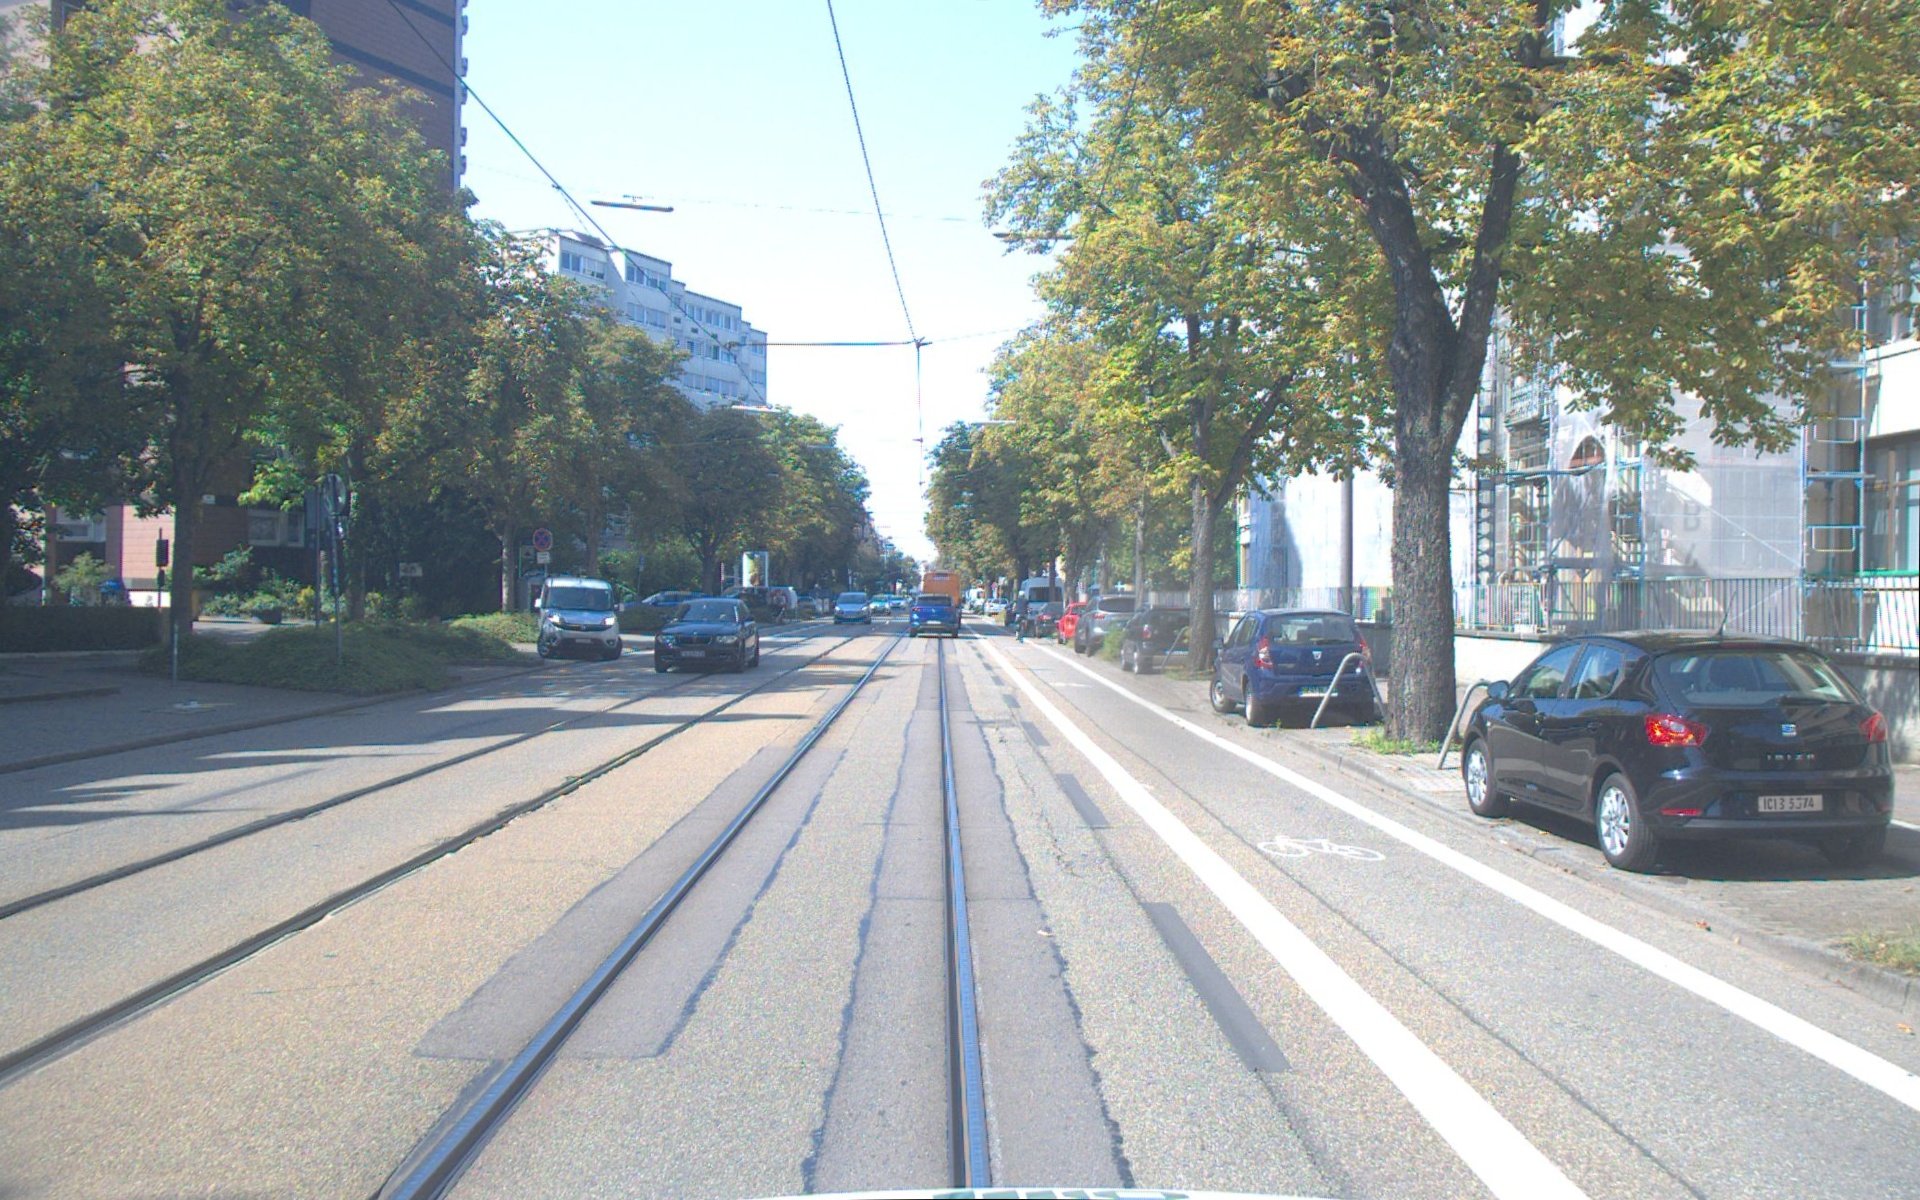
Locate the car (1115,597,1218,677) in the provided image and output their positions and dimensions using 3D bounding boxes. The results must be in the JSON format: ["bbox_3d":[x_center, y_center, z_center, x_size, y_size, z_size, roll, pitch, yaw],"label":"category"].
[{"bbox_3d":[4.473,0.764,36.316,1.600,1.612,4.187,1,0,-2],"label":"car"}]

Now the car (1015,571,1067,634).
[{"bbox_3d":[3.758,0.079,77.512,1.953,2.804,5.759,1,0,-2],"label":"car"}]

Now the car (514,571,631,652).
[{"bbox_3d":[-9.340,0.248,39.709,1.727,1.828,3.962,1,0,-29],"label":"car"}]

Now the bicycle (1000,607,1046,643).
[{"bbox_3d":[2.173,0.835,57.381,1.373,1.154,3.999,1,0,-1],"label":"bicycle"}]

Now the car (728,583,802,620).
[{"bbox_3d":[-11.314,0.109,95.885,3.969,2.049,1.827,1,0,-44],"label":"car"}]

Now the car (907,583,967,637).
[{"bbox_3d":[-0.843,0.337,60.928,2.092,1.891,5.567,0,0,-1],"label":"car"}]

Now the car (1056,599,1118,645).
[{"bbox_3d":[4.323,0.722,56.789,1.705,1.488,3.683,1,0,-2],"label":"car"}]

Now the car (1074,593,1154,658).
[{"bbox_3d":[4.268,0.667,46.407,1.705,1.697,4.360,1,0,-2],"label":"car"}]

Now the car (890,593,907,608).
[{"bbox_3d":[-6.654,0.016,179.441,1.860,1.589,4.121,1,0,-2],"label":"car"}]

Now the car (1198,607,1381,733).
[{"bbox_3d":[4.510,0.907,23.218,1.707,1.583,4.216,0,0,0],"label":"car"}]

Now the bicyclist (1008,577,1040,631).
[{"bbox_3d":[2.220,0.147,57.387,1.011,1.844,1.016,1,0,-1],"label":"bicyclist"}]

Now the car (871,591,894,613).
[{"bbox_3d":[-5.861,0.158,125.445,1.600,1.612,4.187,1,0,-2],"label":"car"}]

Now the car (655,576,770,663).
[{"bbox_3d":[-4.894,0.360,33.187,1.647,1.599,4.205,1,0,0],"label":"car"}]

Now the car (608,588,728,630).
[{"bbox_3d":[-12.003,0.367,68.061,4.510,1.580,1.985,1,0,-25],"label":"car"}]

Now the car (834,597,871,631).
[{"bbox_3d":[-5.645,0.730,87.236,1.744,1.713,4.346,1,0,-2],"label":"car"}]

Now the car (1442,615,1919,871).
[{"bbox_3d":[4.834,0.847,11.674,1.625,1.432,4.216,0,0,0],"label":"car"}]

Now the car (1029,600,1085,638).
[{"bbox_3d":[3.885,0.741,66.921,1.869,1.456,4.291,1,0,-2],"label":"car"}]

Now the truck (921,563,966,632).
[{"bbox_3d":[-0.789,-0.129,80.047,2.092,3.179,6.084,0,0,-1],"label":"truck"}]
